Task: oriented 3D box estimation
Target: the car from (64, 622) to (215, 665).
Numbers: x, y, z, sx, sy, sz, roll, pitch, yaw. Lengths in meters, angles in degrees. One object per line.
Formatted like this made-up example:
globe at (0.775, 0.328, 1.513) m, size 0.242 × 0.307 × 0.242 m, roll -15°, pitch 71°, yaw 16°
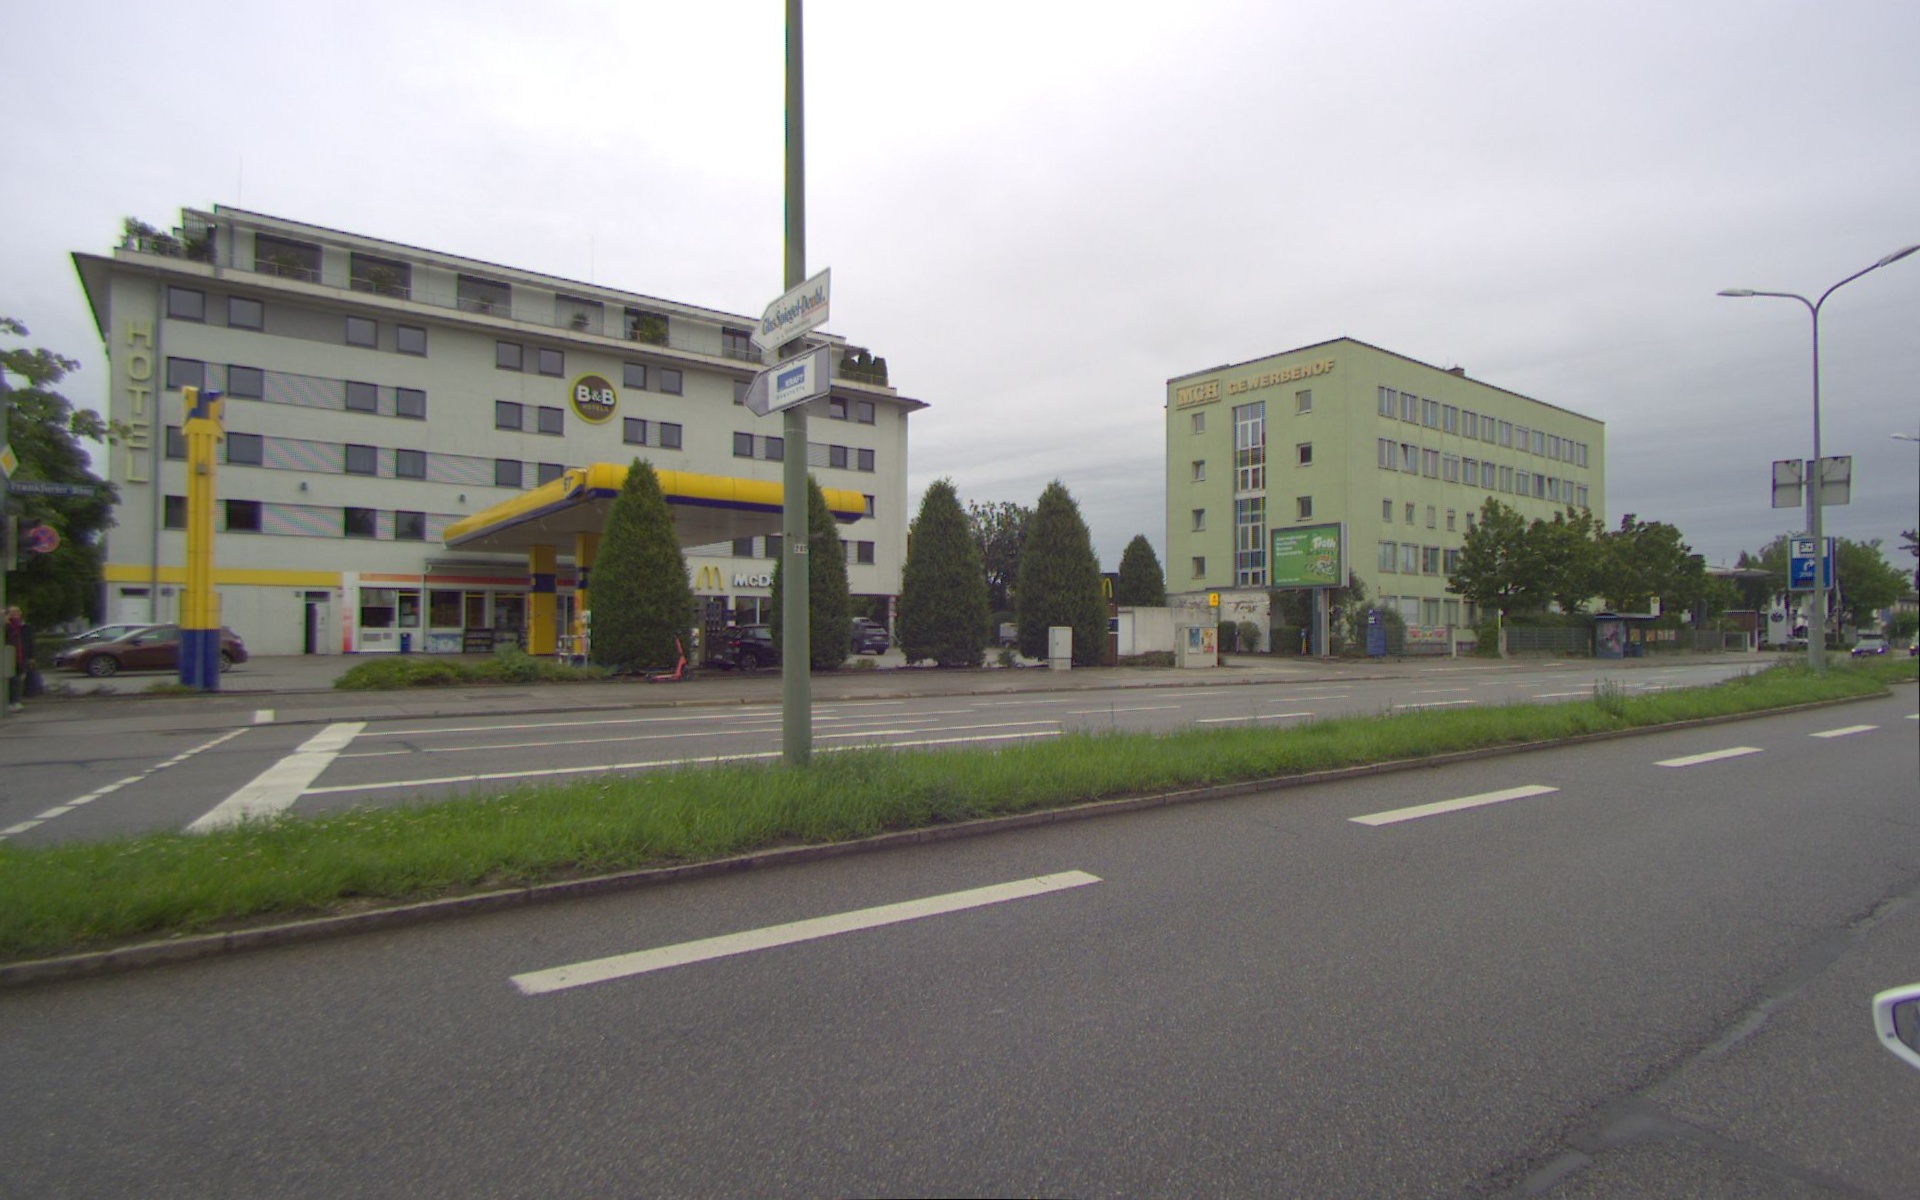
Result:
car at (-29.674, 1.574, 36.510) m, size 4.156 × 1.497 × 1.889 m, roll 2°, pitch -3°, yaw -38°

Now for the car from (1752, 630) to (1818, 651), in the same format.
car at (78.903, 3.889, 96.119) m, size 4.565 × 1.866 × 1.798 m, roll -2°, pitch -3°, yaw 30°

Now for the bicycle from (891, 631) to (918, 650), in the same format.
bicycle at (-3.383, 2.441, 60.999) m, size 0.443 × 1.130 × 1.864 m, roll -3°, pitch -3°, yaw 43°

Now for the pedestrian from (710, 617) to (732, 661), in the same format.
pedestrian at (-9.551, 1.567, 40.140) m, size 0.638 × 1.751 × 0.700 m, roll 1°, pitch -3°, yaw -41°

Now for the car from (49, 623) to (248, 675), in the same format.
car at (-23.582, 1.430, 29.315) m, size 1.680 × 1.402 × 4.339 m, roll -3°, pitch -3°, yaw 42°

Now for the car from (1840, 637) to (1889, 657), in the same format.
car at (68.262, 3.528, 75.796) m, size 4.614 × 1.419 × 1.978 m, roll 2°, pitch -3°, yaw -39°

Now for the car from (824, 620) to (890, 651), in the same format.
car at (-5.561, 1.917, 53.842) m, size 1.692 × 1.608 × 3.957 m, roll 1°, pitch -3°, yaw -38°

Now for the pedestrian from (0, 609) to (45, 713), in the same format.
pedestrian at (-15.490, 0.979, 16.422) m, size 0.681 × 1.636 × 0.796 m, roll 1°, pitch 0°, yaw -38°

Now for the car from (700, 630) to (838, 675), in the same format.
car at (-6.014, 1.638, 31.829) m, size 3.966 × 1.349 × 1.781 m, roll 2°, pitch -3°, yaw -39°

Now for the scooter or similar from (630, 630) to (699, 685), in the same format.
scooter or similar at (-7.078, 1.367, 24.099) m, size 1.528 × 1.259 × 0.354 m, roll 1°, pitch 1°, yaw -33°

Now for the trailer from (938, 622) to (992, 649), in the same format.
trailer at (0.301, 2.362, 66.137) m, size 1.621 × 1.671 × 3.769 m, roll 1°, pitch -3°, yaw -38°

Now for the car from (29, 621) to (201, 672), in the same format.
car at (-26.243, 1.438, 31.389) m, size 3.940 × 1.505 × 1.612 m, roll 1°, pitch -3°, yaw -36°

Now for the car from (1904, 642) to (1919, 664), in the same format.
car at (86.590, 4.744, 90.256) m, size 4.287 × 1.986 × 1.978 m, roll 2°, pitch -3°, yaw -39°
